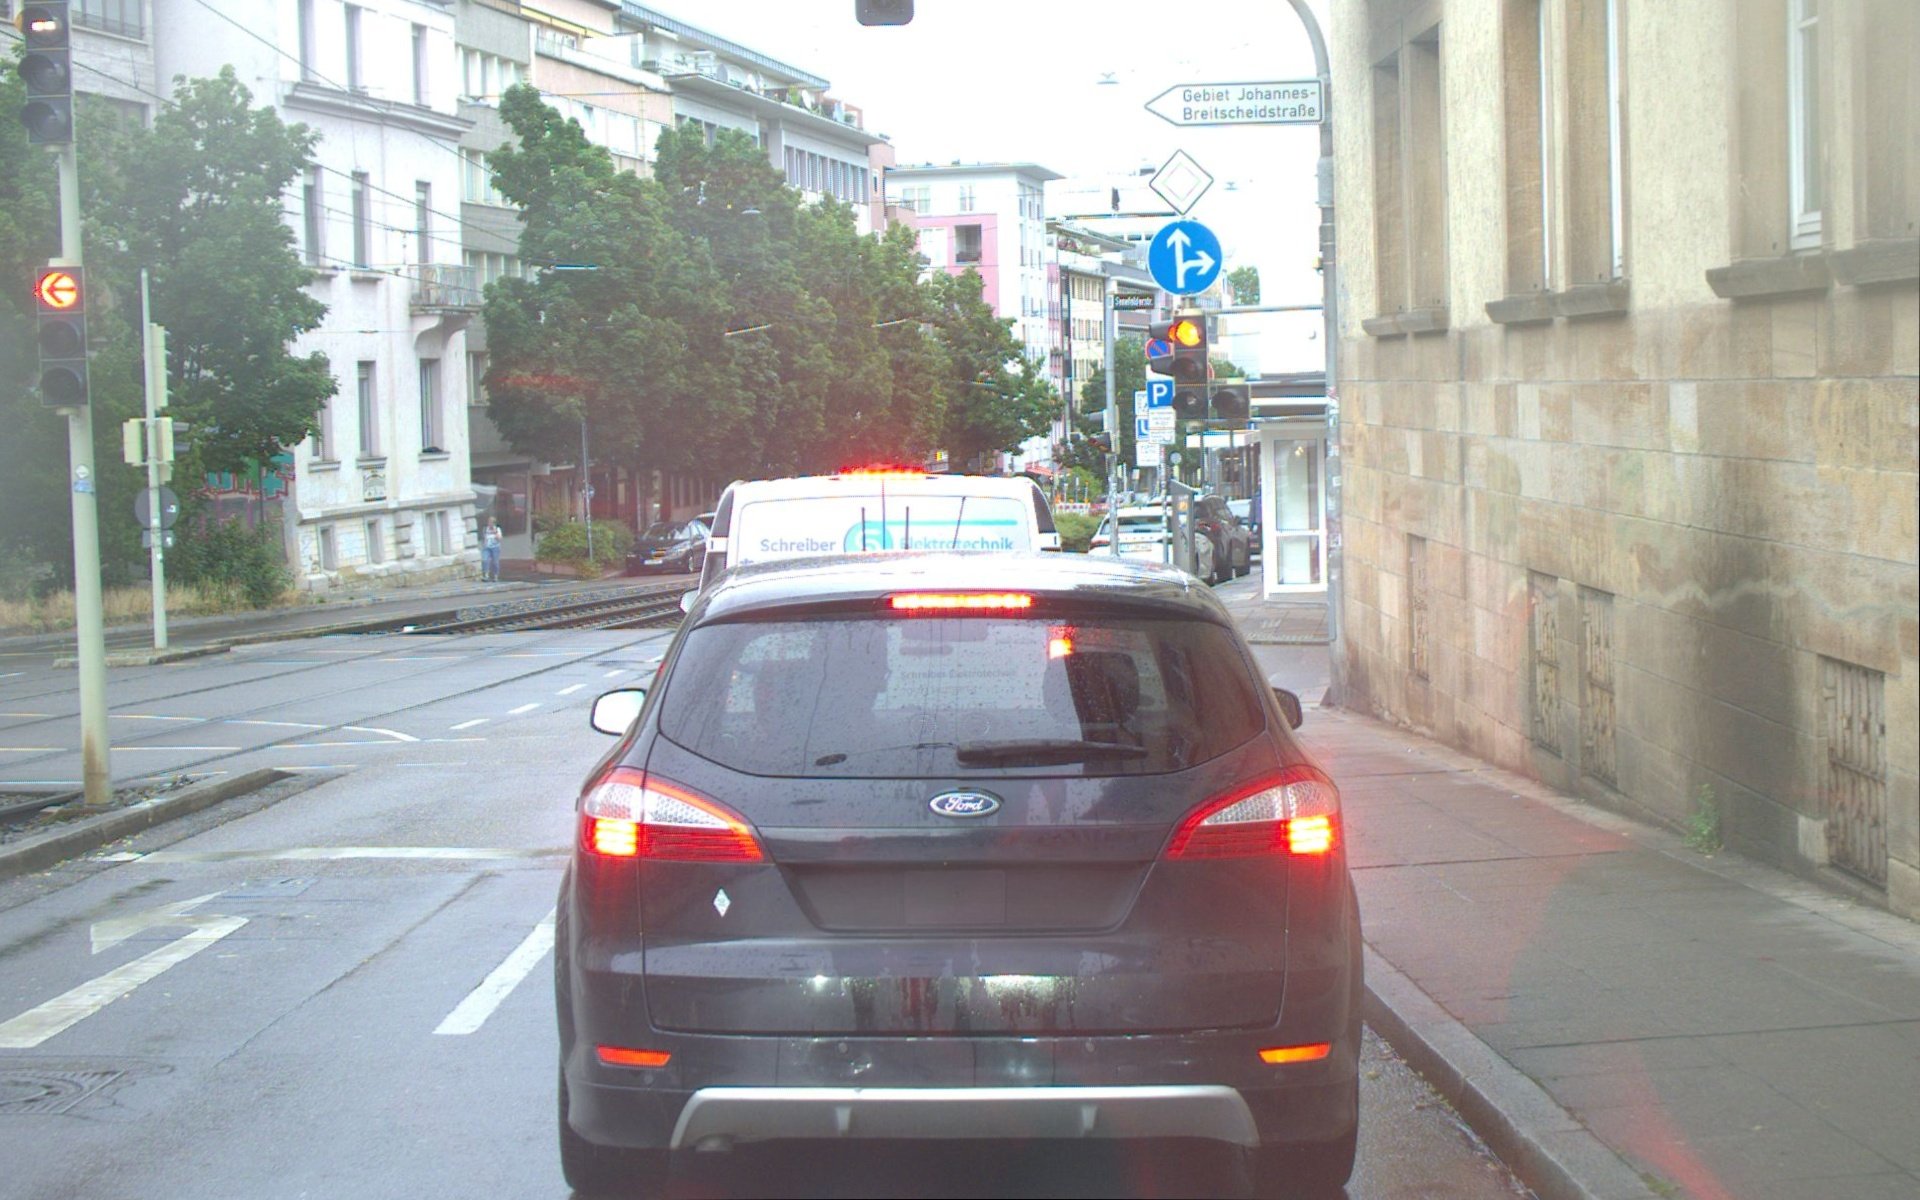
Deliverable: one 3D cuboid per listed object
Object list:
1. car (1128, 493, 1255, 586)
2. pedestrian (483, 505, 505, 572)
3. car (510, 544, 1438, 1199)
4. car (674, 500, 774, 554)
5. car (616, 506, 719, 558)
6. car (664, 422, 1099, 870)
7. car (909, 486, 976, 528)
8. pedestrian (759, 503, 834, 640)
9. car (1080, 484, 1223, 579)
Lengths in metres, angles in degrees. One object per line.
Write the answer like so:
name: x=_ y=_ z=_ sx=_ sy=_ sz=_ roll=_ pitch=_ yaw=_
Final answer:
car: x=4.351 y=-1.123 z=64.134 sx=1.846 sy=1.627 sz=4.585 roll=-1 pitch=1 yaw=10
pedestrian: x=-11.455 y=-1.512 z=84.487 sx=0.467 sy=1.646 sz=0.582 roll=1 pitch=0 yaw=-2
car: x=0.005 y=0.622 z=8.846 sx=1.842 sy=1.502 sz=4.000 roll=0 pitch=1 yaw=-1
car: x=-6.940 y=-2.137 z=101.549 sx=1.856 sy=1.543 sz=4.719 roll=-1 pitch=1 yaw=10
car: x=-8.077 y=-1.865 z=95.291 sx=1.694 sy=1.373 sz=4.719 roll=-1 pitch=0 yaw=10
car: x=-0.417 y=0.189 z=18.094 sx=1.988 sy=2.053 sz=4.645 roll=0 pitch=1 yaw=-1
car: x=-0.703 y=-3.809 z=141.188 sx=1.856 sy=1.631 sz=4.933 roll=-1 pitch=1 yaw=10
pedestrian: x=-2.221 y=-0.388 z=46.794 sx=0.930 sy=1.823 sz=0.959 roll=1 pitch=0 yaw=2
car: x=3.248 y=-1.138 z=57.622 sx=1.802 sy=1.450 sz=4.585 roll=-2 pitch=1 yaw=10
